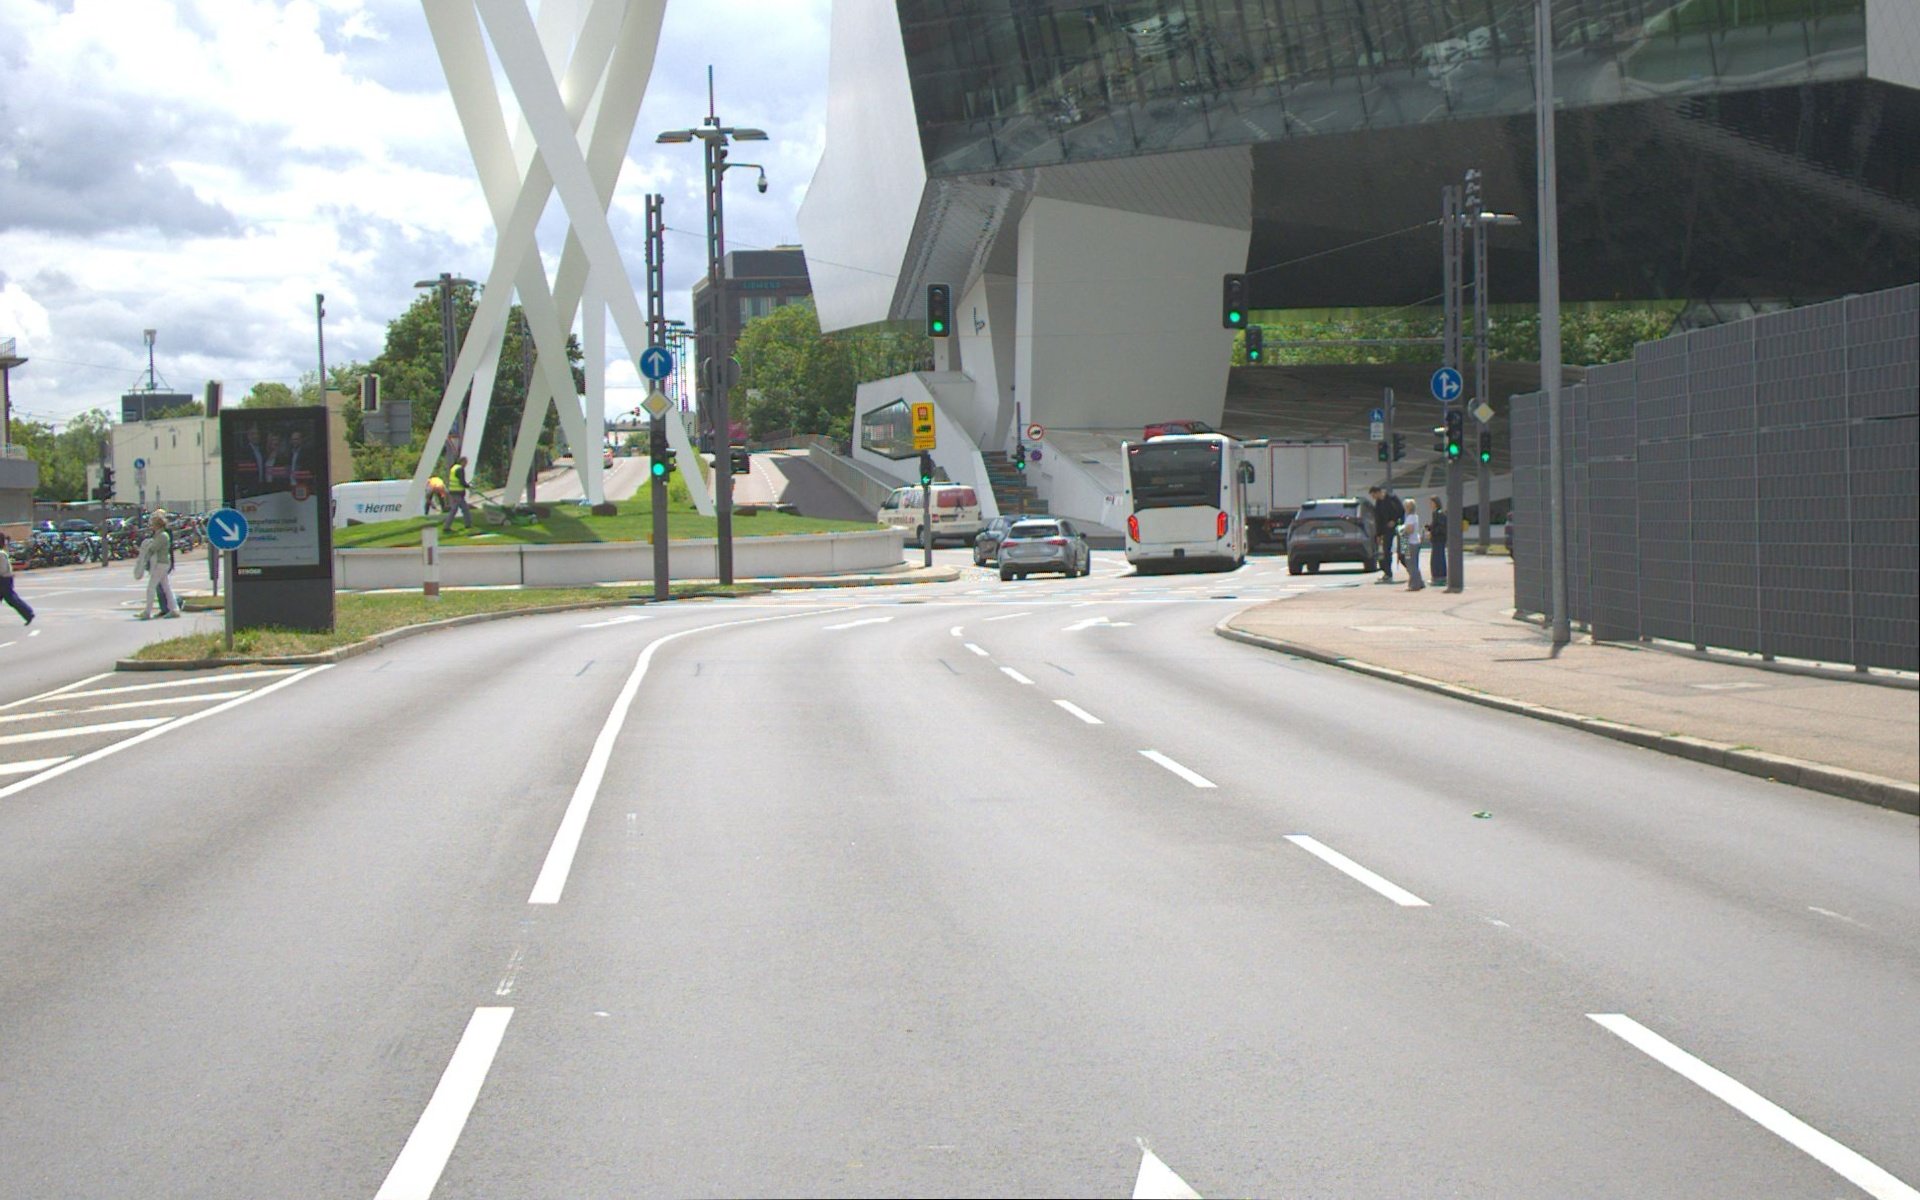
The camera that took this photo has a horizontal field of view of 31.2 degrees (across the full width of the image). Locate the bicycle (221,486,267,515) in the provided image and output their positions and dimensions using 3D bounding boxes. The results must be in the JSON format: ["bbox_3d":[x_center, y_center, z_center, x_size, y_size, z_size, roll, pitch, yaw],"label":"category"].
[{"bbox_3d":[-28.644,-3.980,137.561,1.737,1.178,0.670,0,2,-5],"label":"bicycle"}]

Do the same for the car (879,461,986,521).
[{"bbox_3d":[-0.916,-3.529,111.895,1.993,1.897,4.001,0,1,-26],"label":"car"}]

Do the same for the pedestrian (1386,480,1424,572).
[{"bbox_3d":[7.824,-1.297,60.493,0.659,1.602,0.823,0,1,7],"label":"pedestrian"}]

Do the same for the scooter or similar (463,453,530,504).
[{"bbox_3d":[-10.724,-2.820,79.538,1.400,1.022,0.550,-6,8,-22],"label":"scooter or similar"}]

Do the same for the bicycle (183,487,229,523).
[{"bbox_3d":[-28.187,-3.548,128.551,1.605,1.312,0.493,0,1,-5],"label":"bicycle"}]

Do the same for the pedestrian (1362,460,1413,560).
[{"bbox_3d":[7.992,-1.685,64.282,0.659,1.860,0.794,0,1,-18],"label":"pedestrian"}]

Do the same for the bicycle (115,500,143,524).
[{"bbox_3d":[-31.867,-3.389,131.809,0.491,0.863,1.611,-1,3,7],"label":"bicycle"}]

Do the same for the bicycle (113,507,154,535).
[{"bbox_3d":[-29.646,-2.833,123.338,0.492,0.863,1.609,0,6,24],"label":"bicycle"}]

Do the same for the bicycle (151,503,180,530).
[{"bbox_3d":[-29.056,-3.055,125.768,0.491,0.863,1.611,-1,4,7],"label":"bicycle"}]

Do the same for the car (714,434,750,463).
[{"bbox_3d":[-13.234,-8.809,199.562,1.993,1.630,4.657,0,3,-2],"label":"car"}]

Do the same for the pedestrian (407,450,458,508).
[{"bbox_3d":[-13.954,-3.195,90.956,0.853,1.402,0.964,-7,-1,18],"label":"pedestrian"}]

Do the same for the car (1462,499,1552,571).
[{"bbox_3d":[12.652,-1.505,79.638,1.994,1.631,3.999,0,1,9],"label":"car"}]

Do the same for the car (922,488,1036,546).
[{"bbox_3d":[0.527,-2.385,99.498,1.993,1.631,4.001,0,1,-21],"label":"car"}]

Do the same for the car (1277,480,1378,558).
[{"bbox_3d":[7.956,-1.770,74.186,1.994,1.631,3.999,0,2,9],"label":"car"}]

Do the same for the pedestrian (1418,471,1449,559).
[{"bbox_3d":[8.745,-1.567,63.504,0.464,1.610,0.663,0,1,-1],"label":"pedestrian"}]

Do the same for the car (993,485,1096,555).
[{"bbox_3d":[2.053,-1.920,82.846,1.994,1.631,3.999,0,1,9],"label":"car"}]

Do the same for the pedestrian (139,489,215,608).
[{"bbox_3d":[-13.569,-0.899,59.582,0.953,2.048,0.950,0,1,15],"label":"pedestrian"}]

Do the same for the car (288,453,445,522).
[{"bbox_3d":[-19.026,-3.605,110.281,4.640,2.163,2.000,0,1,3],"label":"car"}]

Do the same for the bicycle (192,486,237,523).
[{"bbox_3d":[-28.182,-3.612,130.043,1.605,1.378,0.493,0,1,-5],"label":"bicycle"}]

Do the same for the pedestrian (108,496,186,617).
[{"bbox_3d":[-13.852,-0.741,58.617,0.953,2.048,0.950,0,1,15],"label":"pedestrian"}]

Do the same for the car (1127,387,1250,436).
[{"bbox_3d":[8.947,-7.416,134.799,4.510,1.390,1.996,10,12,42],"label":"car"}]

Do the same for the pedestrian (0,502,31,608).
[{"bbox_3d":[-15.998,-0.755,57.427,0.863,1.767,1.036,0,1,-18],"label":"pedestrian"}]

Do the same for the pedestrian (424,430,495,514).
[{"bbox_3d":[-11.514,-2.950,79.068,1.281,1.810,0.987,-6,6,-20],"label":"pedestrian"}]

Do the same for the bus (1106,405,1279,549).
[{"bbox_3d":[5.970,-2.969,86.163,3.073,3.350,12.218,0,1,10],"label":"bus"}]

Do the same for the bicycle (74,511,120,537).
[{"bbox_3d":[-30.544,-2.689,121.729,0.492,0.863,1.608,1,4,37],"label":"bicycle"}]

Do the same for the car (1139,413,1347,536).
[{"bbox_3d":[8.310,-3.658,102.542,3.334,3.492,9.345,0,1,-14],"label":"car"}]
